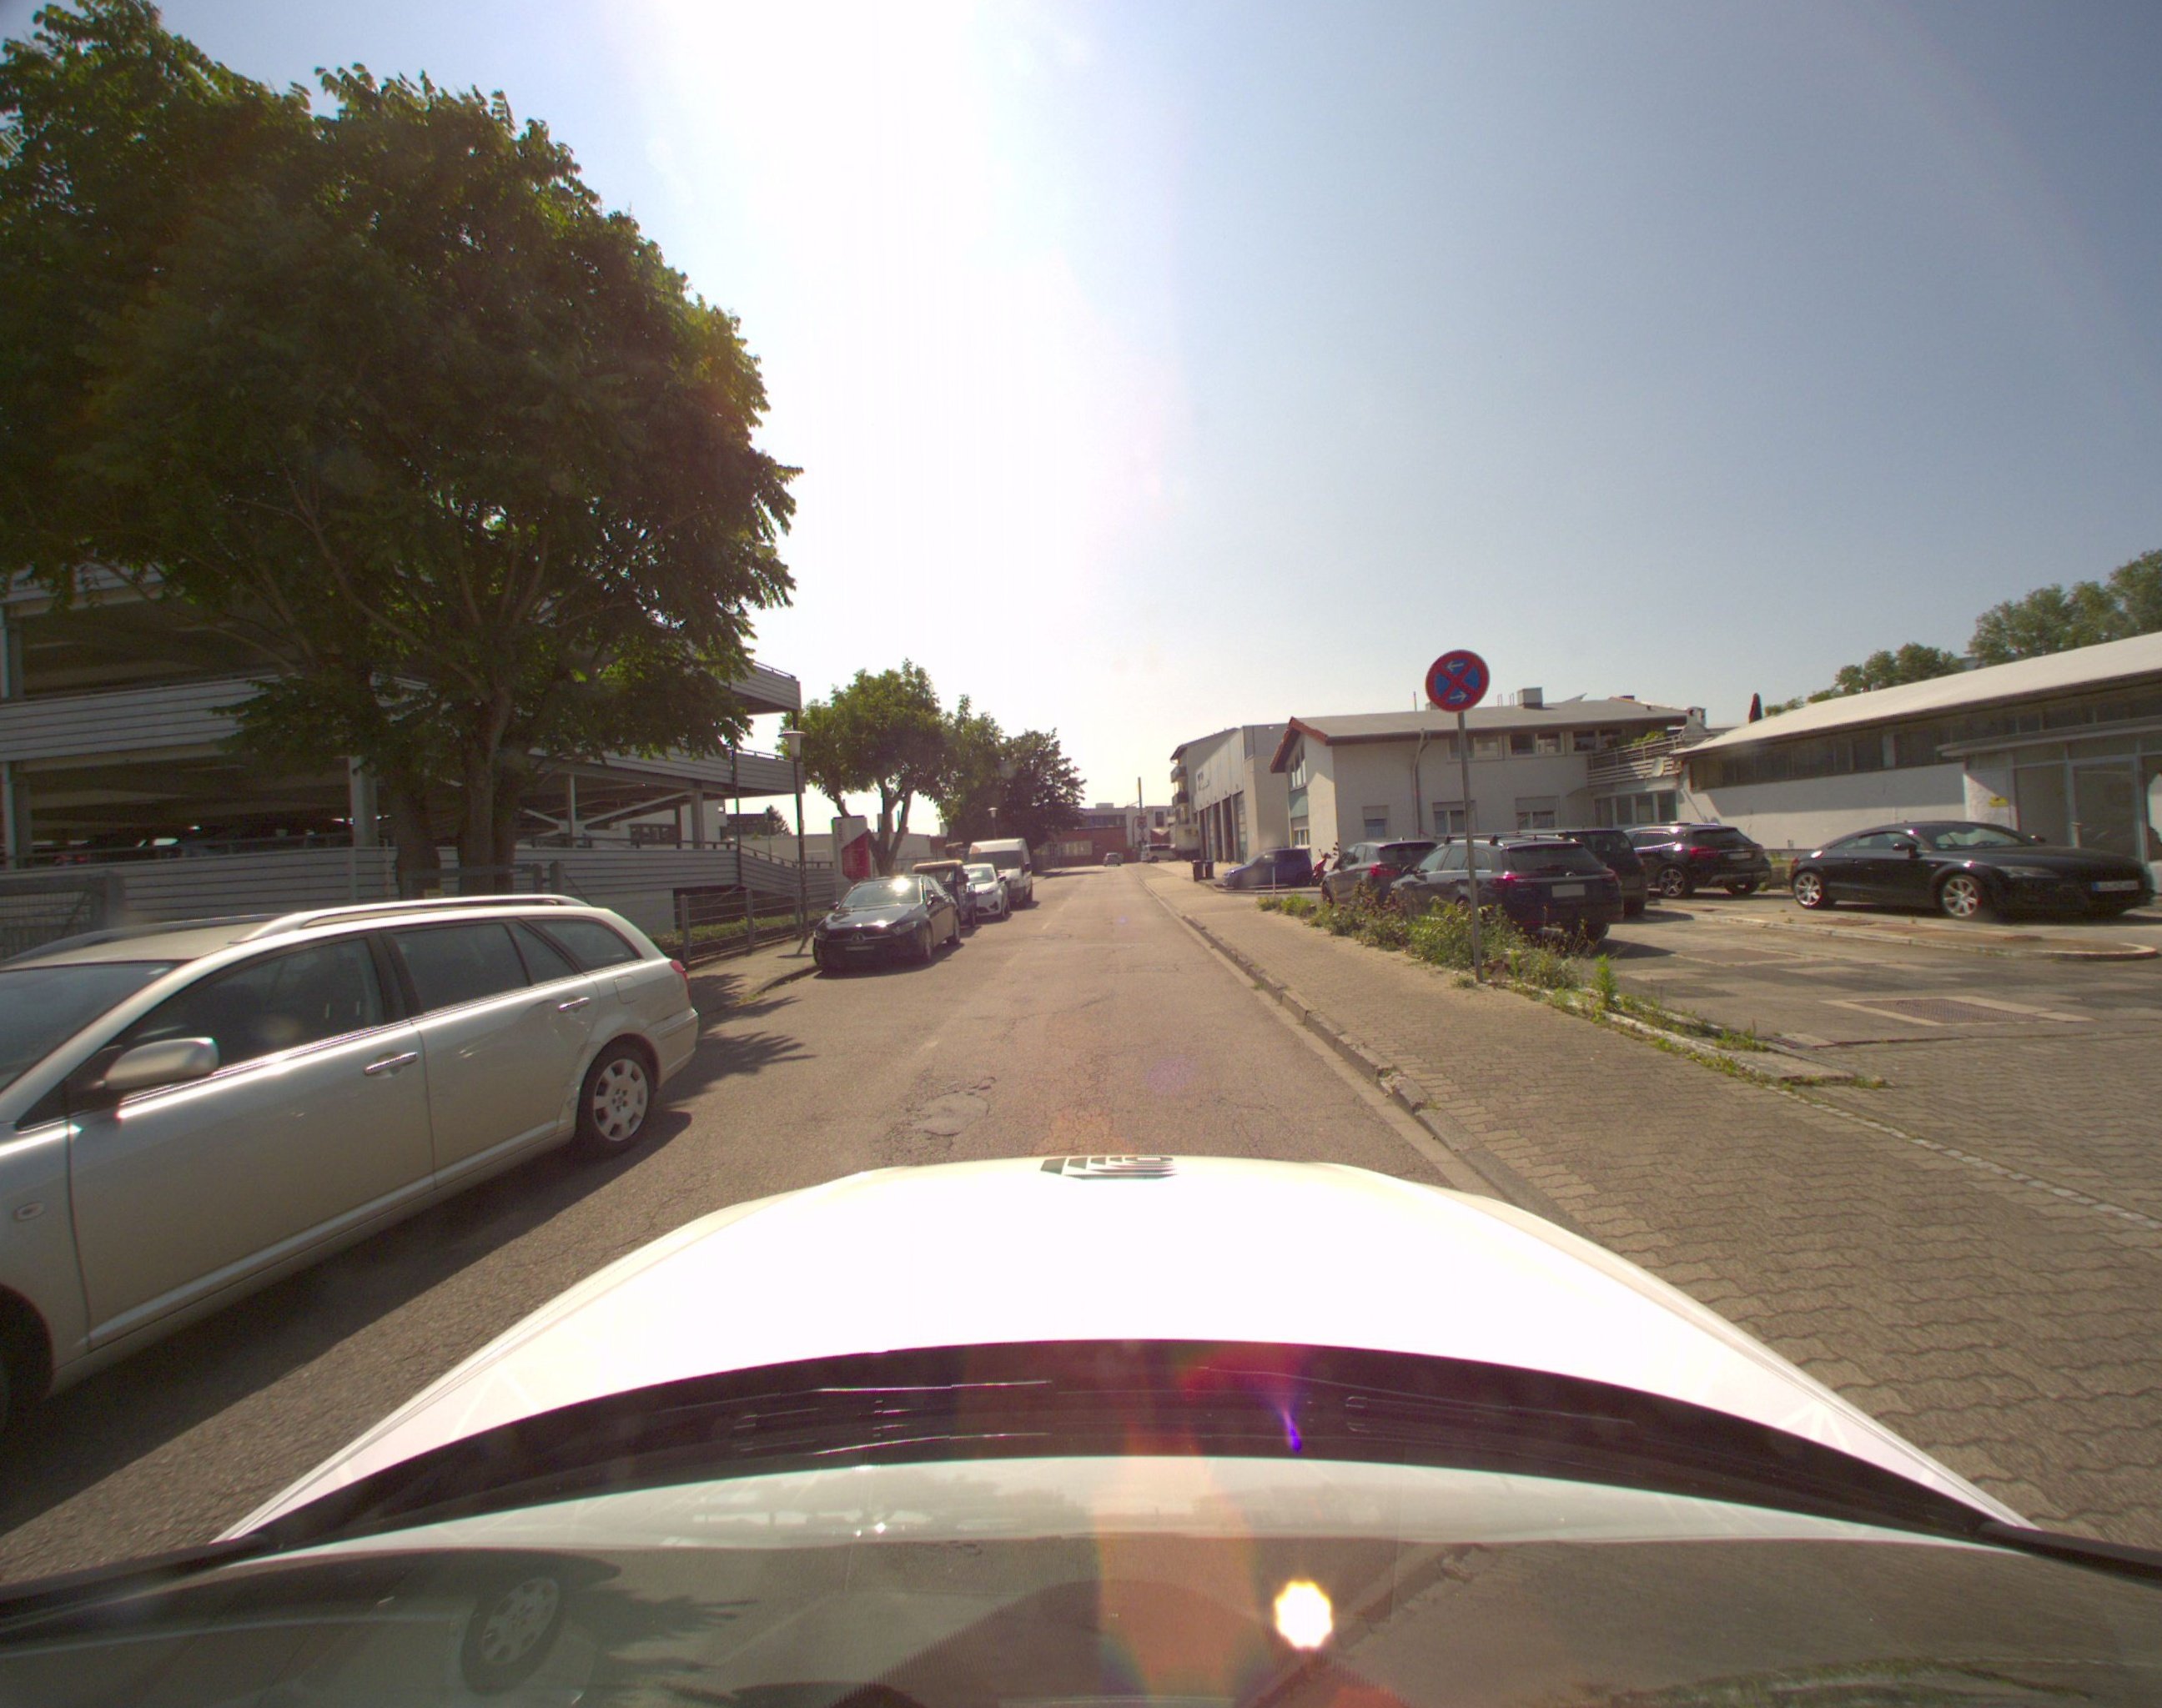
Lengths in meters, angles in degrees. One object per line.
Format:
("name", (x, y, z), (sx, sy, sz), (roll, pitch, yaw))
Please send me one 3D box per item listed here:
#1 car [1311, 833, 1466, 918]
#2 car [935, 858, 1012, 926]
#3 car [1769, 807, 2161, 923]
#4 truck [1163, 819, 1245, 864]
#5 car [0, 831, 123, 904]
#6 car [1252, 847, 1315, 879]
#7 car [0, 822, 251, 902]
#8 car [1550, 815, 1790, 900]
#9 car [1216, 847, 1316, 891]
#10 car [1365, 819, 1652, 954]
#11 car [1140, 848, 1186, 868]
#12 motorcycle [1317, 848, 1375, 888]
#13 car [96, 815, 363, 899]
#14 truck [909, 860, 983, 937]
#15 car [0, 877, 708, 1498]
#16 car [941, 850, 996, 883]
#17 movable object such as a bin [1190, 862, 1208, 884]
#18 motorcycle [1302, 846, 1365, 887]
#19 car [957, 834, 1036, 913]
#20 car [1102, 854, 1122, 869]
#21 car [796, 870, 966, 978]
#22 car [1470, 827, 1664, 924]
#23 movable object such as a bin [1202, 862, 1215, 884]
("car", (6.571, 0.442, 17.943), (1.805, 1.558, 4.294), (-3, -1, 1))
("car", (-2.959, 1.024, 23.164), (1.700, 1.624, 3.969), (-4, -1, -3))
("car", (12.497, 0.143, 11.875), (1.634, 1.324, 4.106), (-3, -1, 5))
("truck", (12.200, -1.196, 80.950), (7.346, 3.645, 2.763), (-6, 0, -4))
("car", (-26.183, 0.339, 19.496), (1.794, 1.672, 4.025), (-4, -3, 35))
("car", (11.335, 0.474, 45.465), (1.756, 1.540, 3.725), (-4, -1, 43))
("car", (-22.688, 0.240, 19.249), (1.794, 1.672, 4.025), (-4, -3, 35))
("car", (12.473, 0.107, 17.637), (1.759, 1.496, 4.136), (-4, -1, -9))
("car", (6.725, 0.534, 29.831), (3.240, 1.399, 1.674), (-3, -1, 2))
("car", (6.131, 0.416, 12.510), (1.851, 1.568, 4.953), (-3, -1, 1))
("car", (9.015, 0.445, 89.430), (4.666, 1.957, 1.905), (-3, -1, -17))
("motorcycle", (9.567, 0.502, 29.471), (1.748, 1.279, 0.794), (-4, -1, -7))
("car", (-19.547, 0.132, 18.873), (1.794, 1.672, 4.025), (-4, -3, 35))
("truck", (-3.176, 1.001, 19.557), (1.135, 1.622, 3.140), (-5, -1, 0))
("car", (-3.585, 0.964, 3.347), (1.733, 1.521, 4.315), (-4, -1, 5))
("car", (-9.144, 1.007, 66.431), (4.072, 2.513, 1.777), (-3, -1, 0))
("movable object such as a bin", (5.415, 0.874, 37.467), (0.562, 0.946, 0.561), (-4, -1, 35))
("motorcycle", (8.813, 0.447, 28.487), (1.863, 1.279, 0.796), (-4, -1, -1))
("car", (-2.812, 0.639, 28.348), (1.999, 2.366, 5.229), (-4, -1, 0))
("car", (3.523, 0.847, 93.082), (1.887, 1.685, 3.952), (-2, 0, -4))
("car", (-3.279, 1.090, 14.214), (1.698, 1.463, 4.116), (-4, -1, 2))
("car", (8.897, 0.360, 15.276), (1.751, 1.595, 3.624), (0, 0, 5))
("movable object such as a bin", (5.923, 0.879, 37.864), (0.510, 0.946, 0.489), (-4, -1, 13))
